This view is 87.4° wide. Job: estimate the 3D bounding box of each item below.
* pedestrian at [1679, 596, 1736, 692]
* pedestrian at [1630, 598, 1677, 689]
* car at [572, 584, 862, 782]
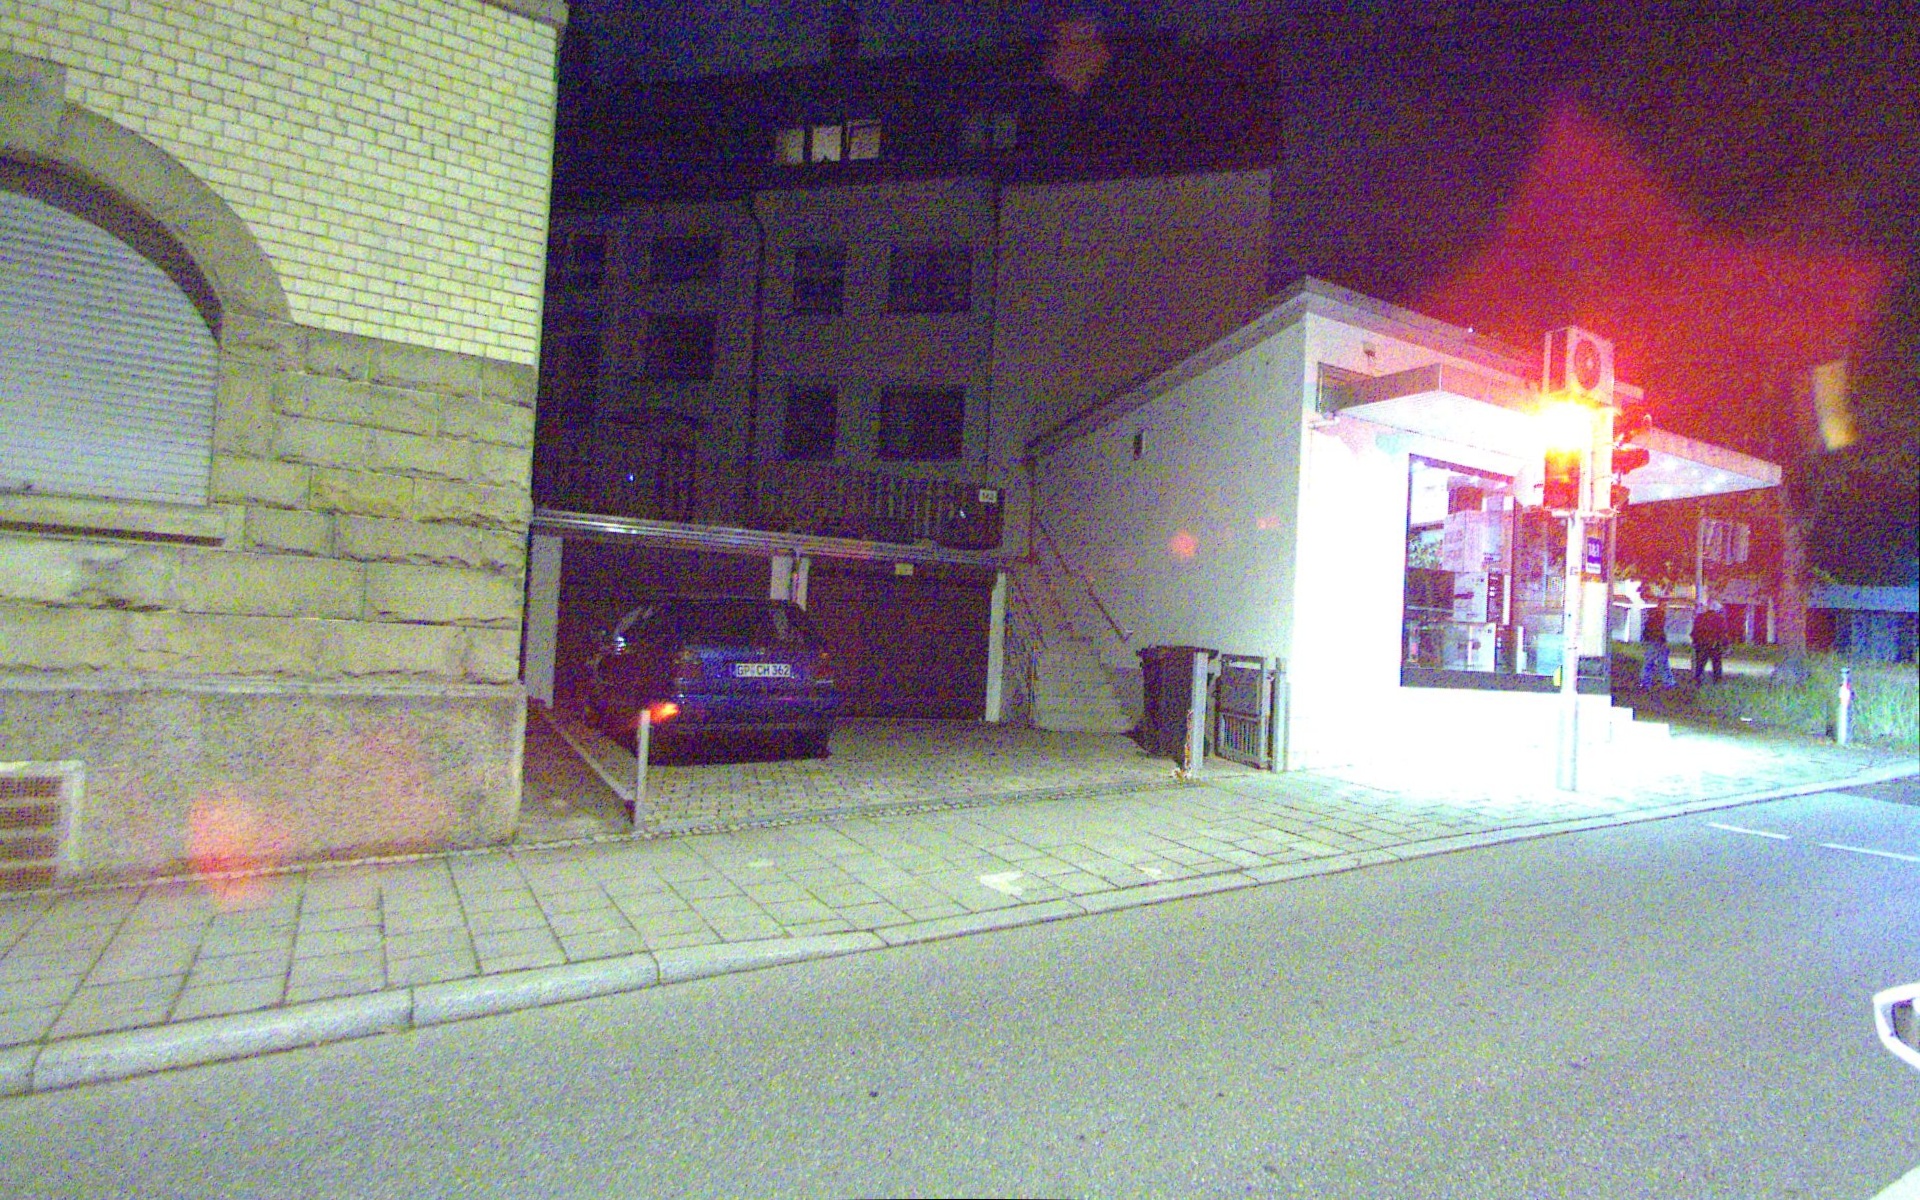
[{"bbox_3d":[14.465,0.841,19.450,0.729,1.801,0.567,2,2,-30],"label":"pedestrian"},{"bbox_3d":[13.660,0.845,19.789,0.537,1.754,0.567,2,0,-30],"label":"pedestrian"},{"bbox_3d":[-2.478,0.625,9.572,1.700,1.460,3.631,2,0,-30],"label":"car"}]
